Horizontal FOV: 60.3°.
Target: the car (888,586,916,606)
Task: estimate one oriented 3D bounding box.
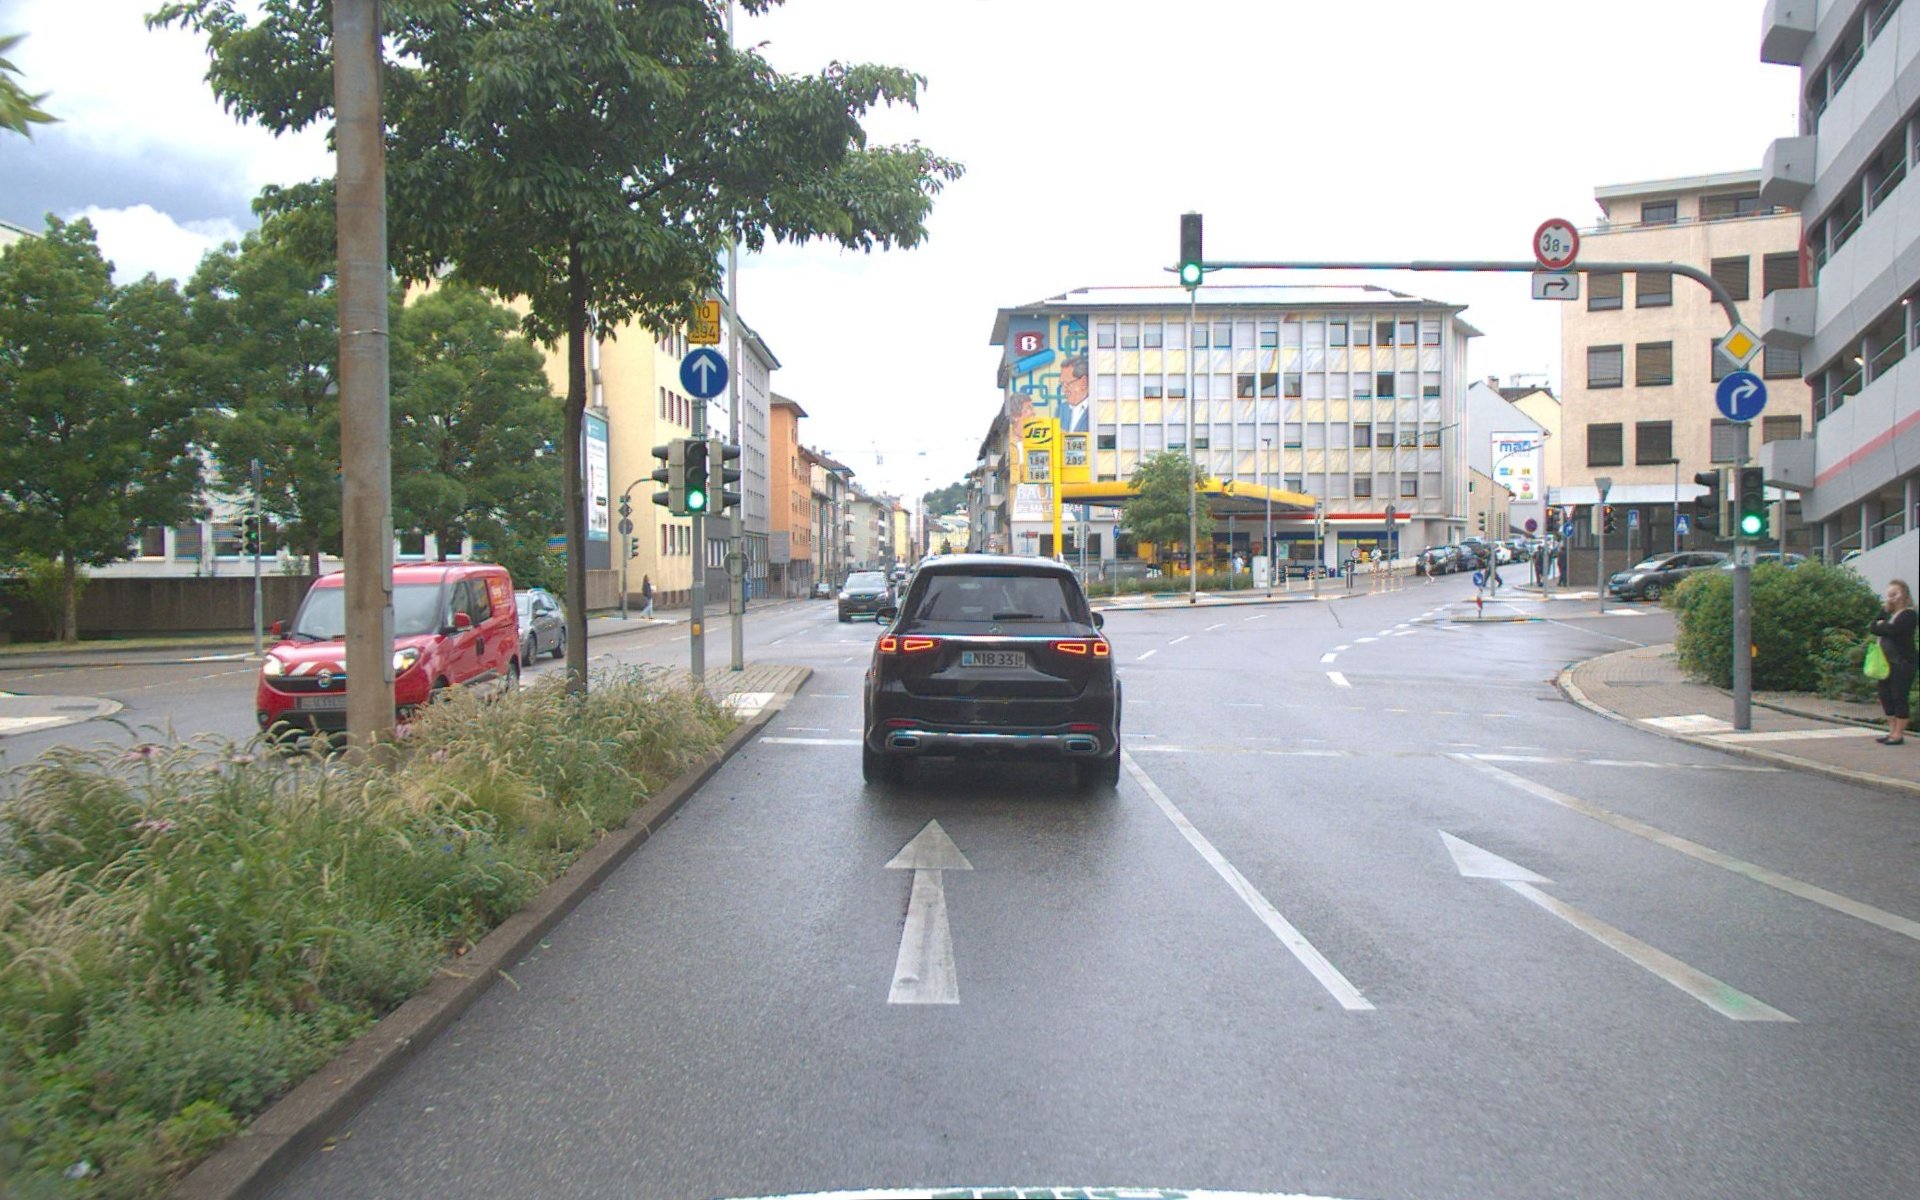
[{"bbox_3d":[-4.788,-0.310,136.889,1.952,1.574,4.190,2,-1,2],"label":"car"}]

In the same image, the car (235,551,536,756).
[{"bbox_3d":[-6.098,0.508,18.194,1.757,1.886,4.790,-2,0,-3],"label":"car"}]

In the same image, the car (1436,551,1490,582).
[{"bbox_3d":[29.155,-1.951,95.825,1.958,1.735,3.989,-1,1,33],"label":"car"}]

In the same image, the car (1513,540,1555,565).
[{"bbox_3d":[41.693,-3.439,120.166,1.958,1.735,3.989,-1,1,33],"label":"car"}]

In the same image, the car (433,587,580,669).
[{"bbox_3d":[-9.198,0.521,33.933,1.809,1.454,4.434,-2,1,-1],"label":"car"}]

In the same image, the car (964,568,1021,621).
[{"bbox_3d":[1.157,-0.165,60.599,1.953,1.832,3.999,2,-1,0],"label":"car"}]

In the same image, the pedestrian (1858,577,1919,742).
[{"bbox_3d":[10.062,0.632,17.811,0.634,1.740,0.469,0,-2,36],"label":"pedestrian"}]

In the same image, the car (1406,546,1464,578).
[{"bbox_3d":[26.314,-2.098,91.545,1.958,1.735,3.989,-1,1,33],"label":"car"}]

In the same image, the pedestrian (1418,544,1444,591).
[{"bbox_3d":[22.038,-1.506,77.429,0.838,2.165,0.947,-1,0,-6],"label":"pedestrian"}]

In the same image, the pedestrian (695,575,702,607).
[{"bbox_3d":[-13.495,-0.469,85.245,0.240,1.653,0.411,1,-1,1],"label":"pedestrian"}]

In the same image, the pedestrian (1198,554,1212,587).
[{"bbox_3d":[13.109,-1.567,88.445,0.516,1.757,0.688,0,0,29],"label":"pedestrian"}]

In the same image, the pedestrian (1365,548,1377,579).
[{"bbox_3d":[22.037,-1.952,88.694,0.474,1.669,0.438,1,-1,28],"label":"pedestrian"}]

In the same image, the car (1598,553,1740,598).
[{"bbox_3d":[24.263,-0.827,56.712,4.095,1.465,1.860,-1,0,6],"label":"car"}]

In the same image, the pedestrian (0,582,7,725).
[{"bbox_3d":[-12.308,0.675,20.476,0.675,1.788,0.716,0,0,-11],"label":"pedestrian"}]

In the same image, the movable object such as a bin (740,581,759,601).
[{"bbox_3d":[-11.917,-0.516,93.729,0.891,1.056,0.844,2,-1,1],"label":"movable object such as a bin"}]

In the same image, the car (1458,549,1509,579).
[{"bbox_3d":[31.676,-2.184,100.052,1.958,1.735,3.989,-1,1,33],"label":"car"}]

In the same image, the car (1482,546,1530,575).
[{"bbox_3d":[34.693,-2.501,105.068,1.958,1.735,3.989,-1,1,33],"label":"car"}]

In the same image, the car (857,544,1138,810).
[{"bbox_3d":[0.259,0.575,13.755,1.953,1.832,3.999,2,-1,0],"label":"car"}]

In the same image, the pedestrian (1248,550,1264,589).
[{"bbox_3d":[13.319,-1.369,74.410,0.515,1.757,0.688,0,0,26],"label":"pedestrian"}]

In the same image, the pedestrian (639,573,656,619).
[{"bbox_3d":[-12.074,-0.168,63.890,0.616,1.757,0.649,-1,0,-10],"label":"pedestrian"}]

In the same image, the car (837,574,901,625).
[{"bbox_3d":[-3.068,0.011,56.678,1.953,1.642,4.189,2,-1,0],"label":"car"}]

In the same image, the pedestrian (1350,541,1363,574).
[{"bbox_3d":[21.431,-2.287,89.387,0.515,1.757,0.688,0,0,26],"label":"pedestrian"}]

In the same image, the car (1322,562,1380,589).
[{"bbox_3d":[23.793,-1.483,100.654,1.962,1.422,3.981,1,-1,38],"label":"car"}]

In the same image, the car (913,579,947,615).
[{"bbox_3d":[-1.777,-0.154,98.534,1.953,2.049,3.999,2,-1,-1],"label":"car"}]

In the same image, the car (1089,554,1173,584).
[{"bbox_3d":[8.372,-1.497,81.300,1.723,1.400,3.936,-1,1,-43],"label":"car"}]

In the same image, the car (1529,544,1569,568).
[{"bbox_3d":[44.327,-3.304,124.363,1.958,1.735,3.989,-1,1,33],"label":"car"}]

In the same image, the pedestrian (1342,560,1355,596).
[{"bbox_3d":[15.577,-0.864,66.297,0.388,1.424,0.446,2,-1,1],"label":"pedestrian"}]

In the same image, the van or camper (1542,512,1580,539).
[{"bbox_3d":[49.461,-6.120,136.077,1.958,2.013,4.501,-1,1,33],"label":"van or camper"}]

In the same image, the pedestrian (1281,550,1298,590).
[{"bbox_3d":[14.536,-1.304,72.950,0.560,1.727,0.631,2,-1,1],"label":"pedestrian"}]
